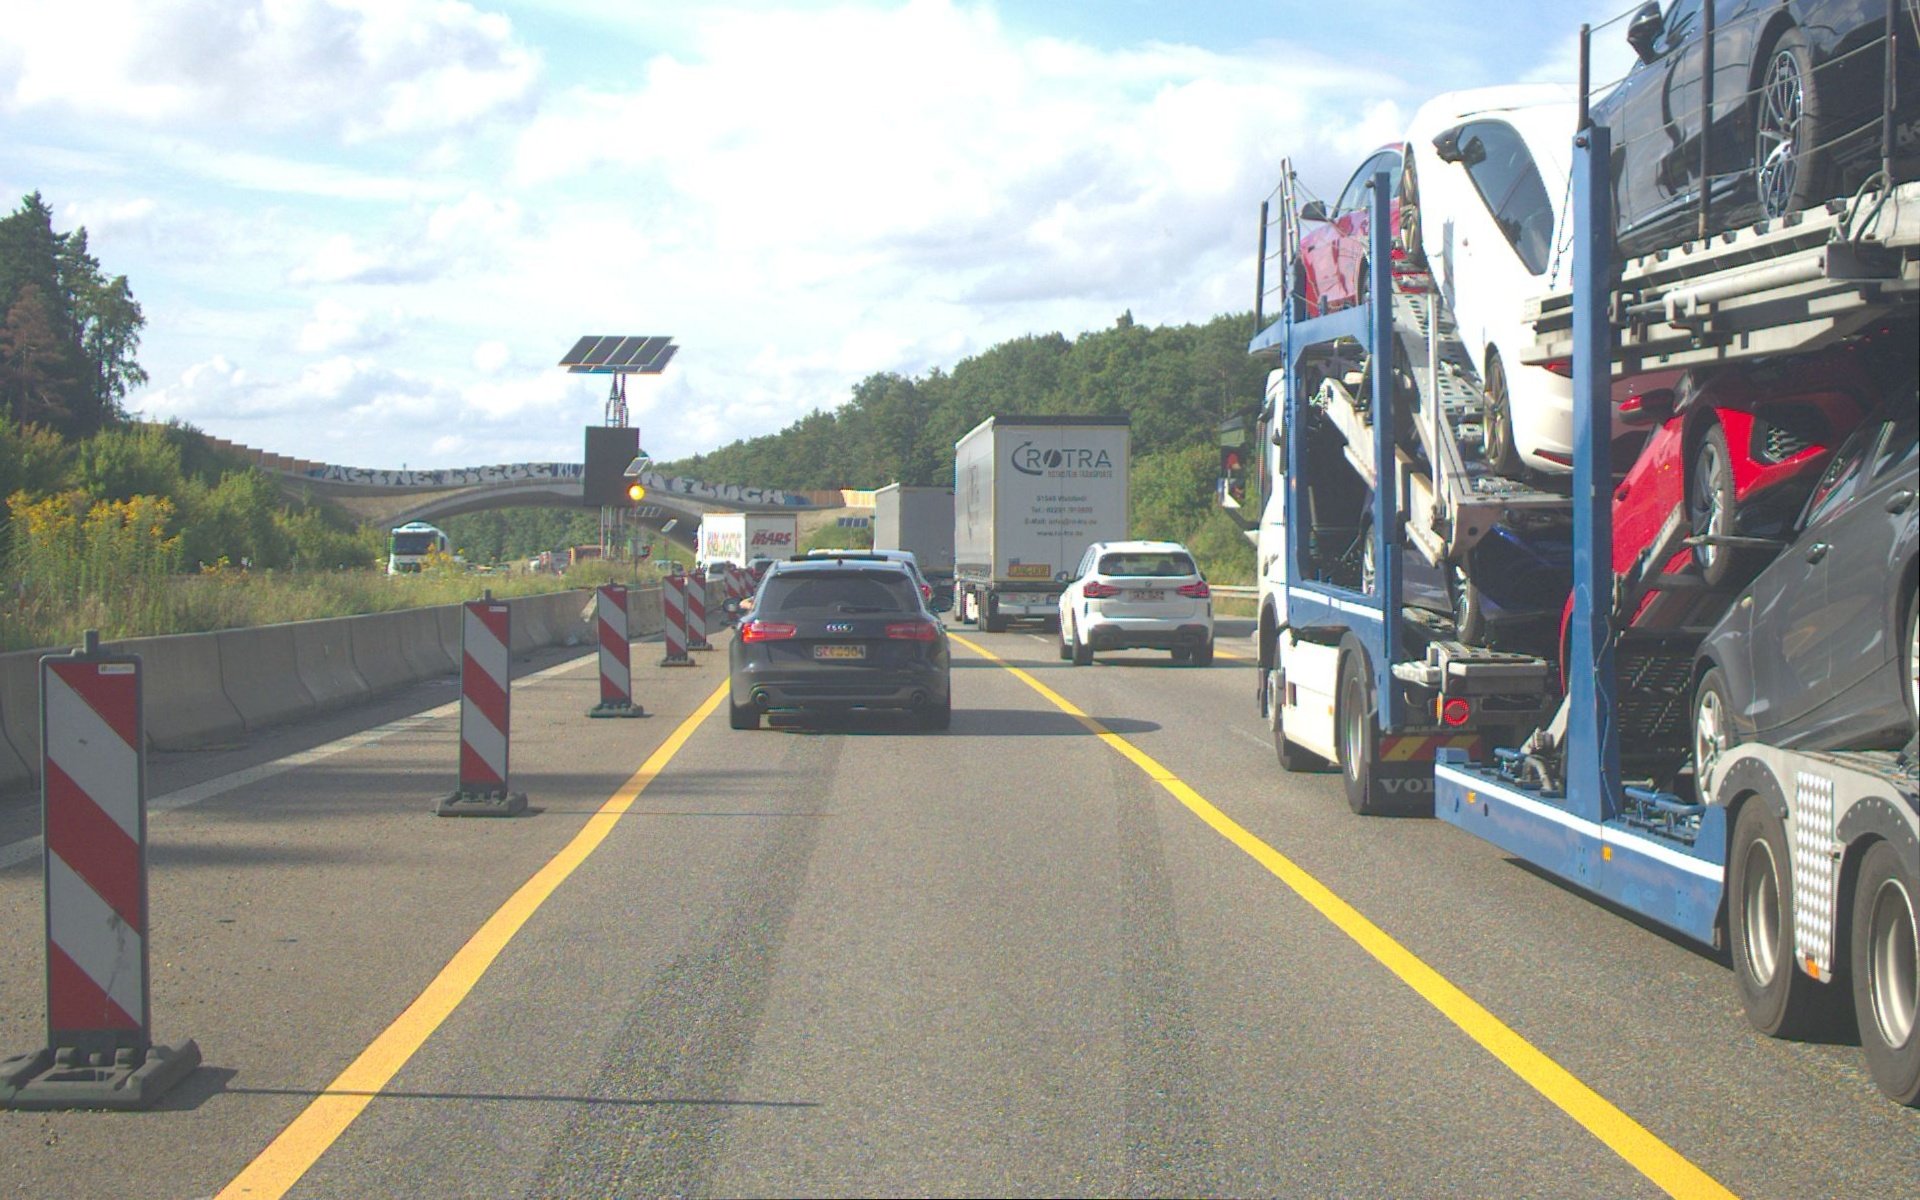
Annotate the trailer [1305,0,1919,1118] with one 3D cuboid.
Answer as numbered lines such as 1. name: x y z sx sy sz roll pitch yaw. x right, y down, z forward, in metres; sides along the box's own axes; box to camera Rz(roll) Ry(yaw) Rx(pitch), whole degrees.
1. trailer: 4.222 -0.773 12.062 3.726 4.182 16.229 1 1 -2

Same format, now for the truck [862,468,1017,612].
1. truck: -0.815 -1.982 116.446 4.318 4.584 11.127 1 0 -5

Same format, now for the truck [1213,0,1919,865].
1. truck: 3.864 -0.871 20.304 3.761 4.182 7.952 1 0 -3

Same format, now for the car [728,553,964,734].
1. car: -0.946 0.336 29.742 1.890 1.441 4.000 1 0 -1

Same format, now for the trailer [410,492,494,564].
1. trailer: -25.696 -3.603 174.340 2.802 3.478 11.113 1 0 -1

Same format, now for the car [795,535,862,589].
1. car: -4.168 -1.202 108.418 1.890 1.638 4.018 1 0 -5

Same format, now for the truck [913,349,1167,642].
1. truck: 1.367 -1.995 71.141 3.677 5.335 16.204 1 0 -4

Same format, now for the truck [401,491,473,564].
1. truck: -25.538 -3.517 168.119 2.785 3.478 4.939 1 0 -1

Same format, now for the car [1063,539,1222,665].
1. car: 2.447 0.007 46.998 1.890 1.638 4.018 1 0 -1

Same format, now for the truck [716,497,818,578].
1. truck: -9.809 -3.101 173.333 3.653 3.915 11.070 1 1 -11

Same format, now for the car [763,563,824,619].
1. car: -6.090 -0.352 125.517 1.993 2.007 4.001 1 0 -6
